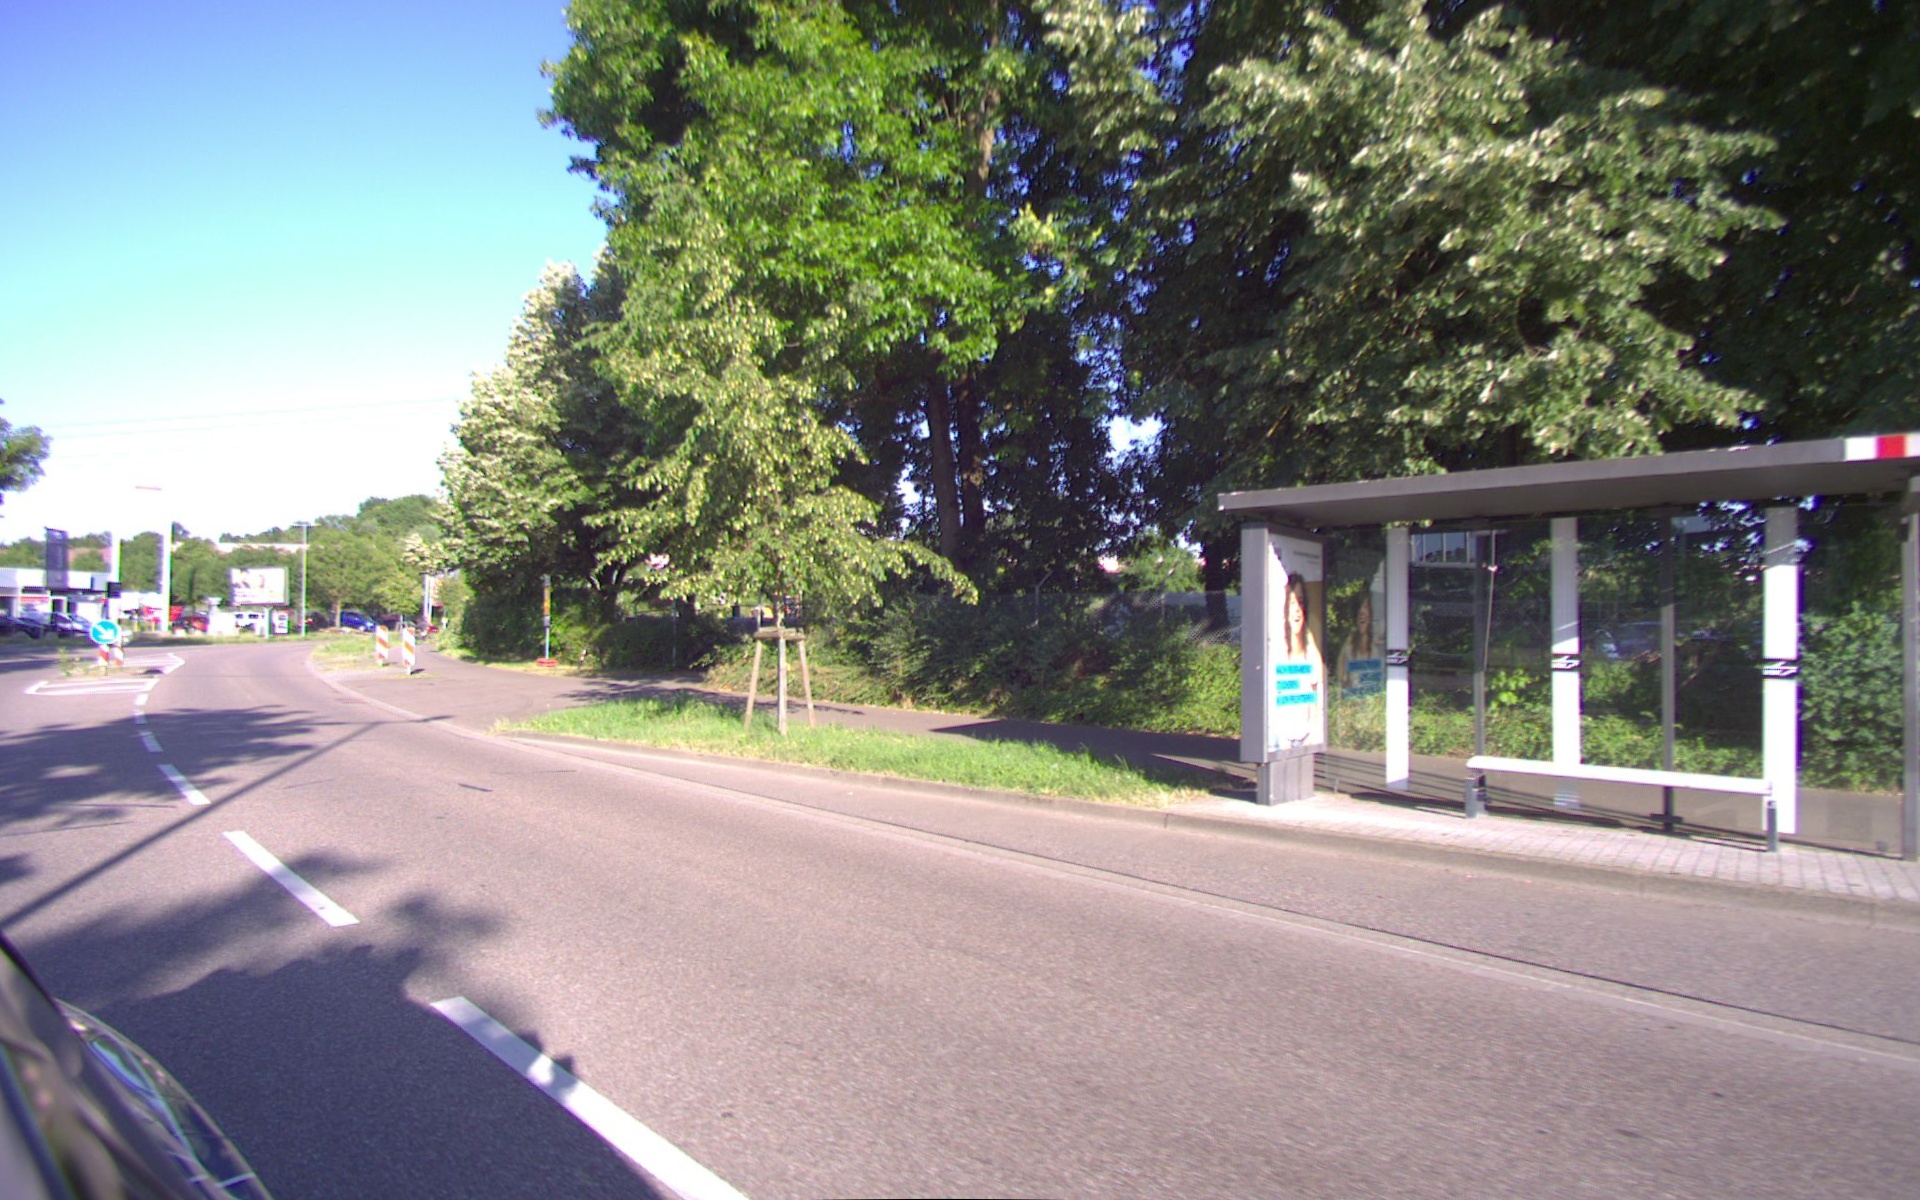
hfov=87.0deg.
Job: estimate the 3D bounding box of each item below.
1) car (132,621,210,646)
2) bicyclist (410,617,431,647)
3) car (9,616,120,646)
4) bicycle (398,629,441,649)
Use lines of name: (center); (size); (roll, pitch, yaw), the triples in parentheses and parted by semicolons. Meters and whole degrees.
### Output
car: (-65.971, 2.781, 84.671); (4.785, 2.029, 2.296); (0, -2, 5)
bicyclist: (-32.327, 1.917, 60.607); (0.939, 1.766, 0.914); (2, -3, -37)
car: (-61.893, 2.167, 70.024); (5.203, 2.029, 2.411); (1, -2, -11)
bicycle: (-32.310, 2.321, 60.535); (2.129, 1.109, 0.926); (-2, -1, -41)
